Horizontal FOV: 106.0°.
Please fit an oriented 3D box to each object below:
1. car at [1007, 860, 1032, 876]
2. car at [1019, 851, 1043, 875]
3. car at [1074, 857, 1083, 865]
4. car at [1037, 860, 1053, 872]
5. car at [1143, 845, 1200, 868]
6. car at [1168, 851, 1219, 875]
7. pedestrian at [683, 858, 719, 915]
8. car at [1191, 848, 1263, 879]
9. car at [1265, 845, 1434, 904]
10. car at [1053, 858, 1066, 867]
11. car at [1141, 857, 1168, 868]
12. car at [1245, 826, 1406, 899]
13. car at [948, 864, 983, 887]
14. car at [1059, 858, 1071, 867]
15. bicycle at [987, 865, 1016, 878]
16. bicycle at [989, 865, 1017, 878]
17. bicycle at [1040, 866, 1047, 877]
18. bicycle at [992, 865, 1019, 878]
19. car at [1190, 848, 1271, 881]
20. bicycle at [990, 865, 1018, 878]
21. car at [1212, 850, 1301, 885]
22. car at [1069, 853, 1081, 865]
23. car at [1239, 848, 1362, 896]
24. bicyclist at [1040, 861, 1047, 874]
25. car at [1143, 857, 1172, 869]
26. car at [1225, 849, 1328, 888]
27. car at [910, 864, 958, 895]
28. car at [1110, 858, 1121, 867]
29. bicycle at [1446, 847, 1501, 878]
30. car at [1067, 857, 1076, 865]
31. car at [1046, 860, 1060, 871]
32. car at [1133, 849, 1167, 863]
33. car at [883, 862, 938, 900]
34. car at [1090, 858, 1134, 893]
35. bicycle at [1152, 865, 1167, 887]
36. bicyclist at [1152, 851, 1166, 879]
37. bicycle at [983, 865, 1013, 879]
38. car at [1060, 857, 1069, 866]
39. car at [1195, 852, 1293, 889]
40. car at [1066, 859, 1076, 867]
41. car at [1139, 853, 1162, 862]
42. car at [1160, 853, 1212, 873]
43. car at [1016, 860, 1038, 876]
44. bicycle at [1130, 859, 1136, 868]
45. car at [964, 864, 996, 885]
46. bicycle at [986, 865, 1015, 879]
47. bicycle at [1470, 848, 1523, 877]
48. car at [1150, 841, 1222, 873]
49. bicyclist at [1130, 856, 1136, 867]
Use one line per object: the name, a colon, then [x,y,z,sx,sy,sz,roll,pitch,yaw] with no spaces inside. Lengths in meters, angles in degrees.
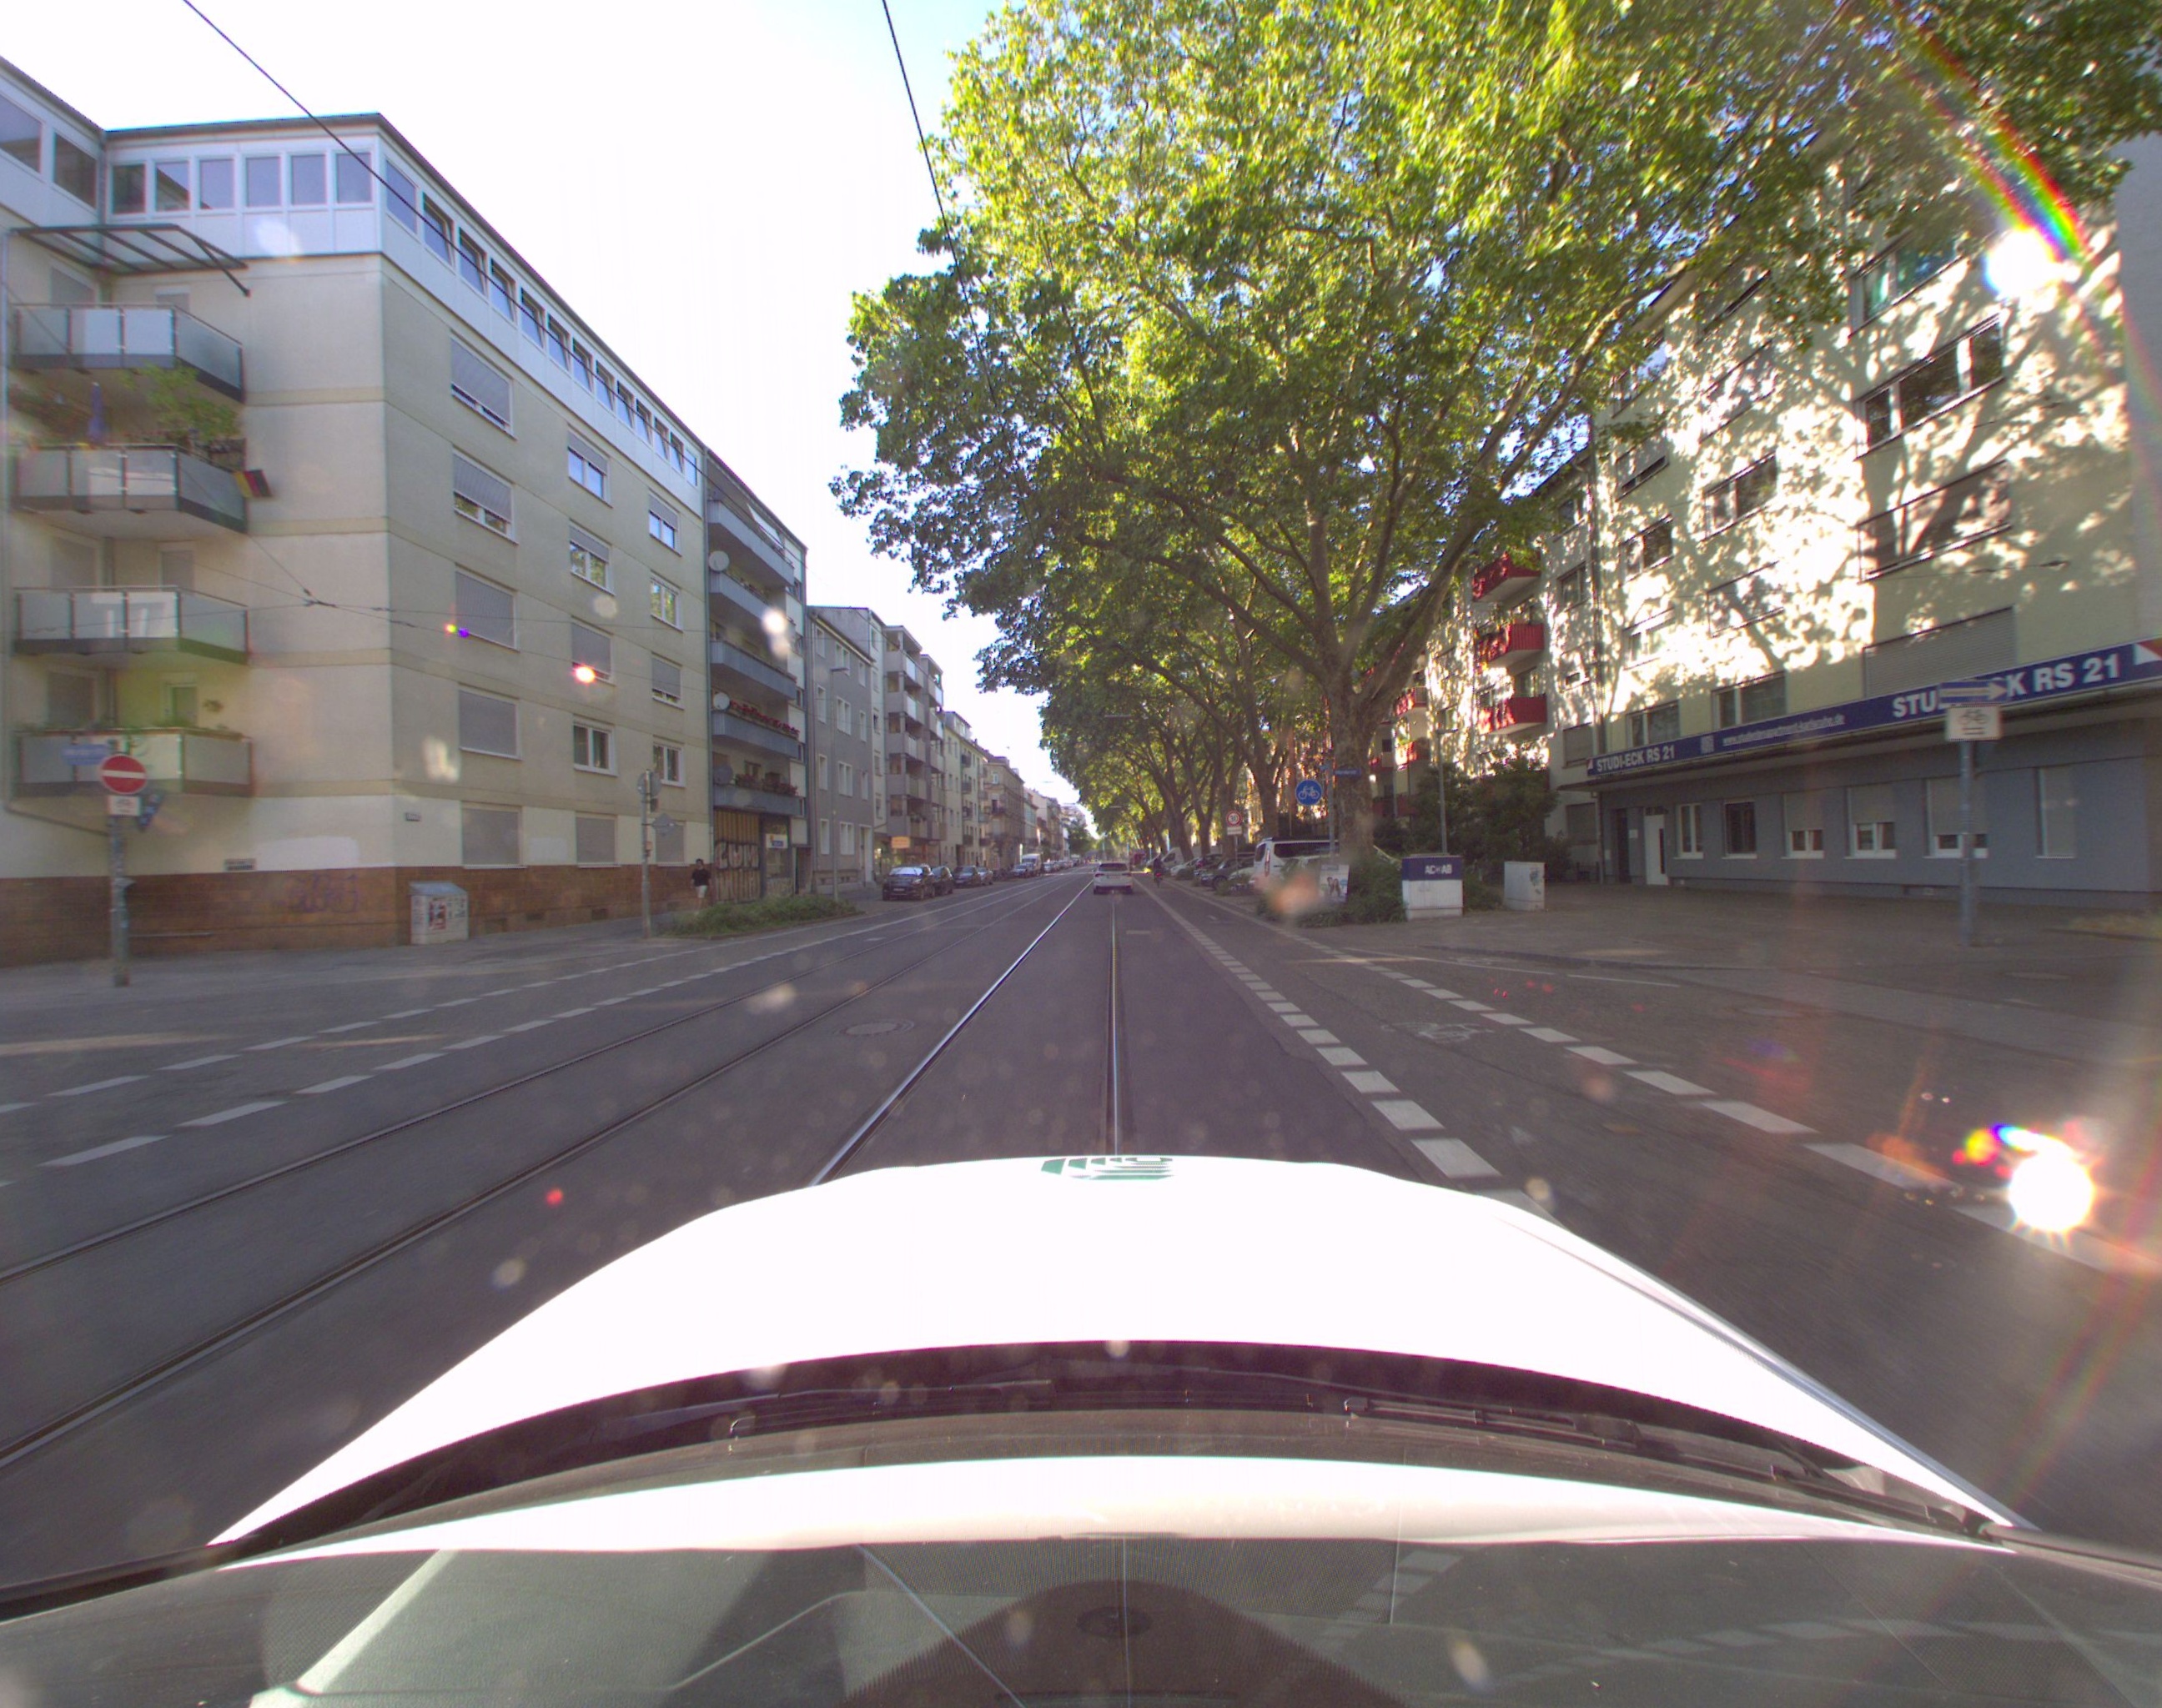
car: [-6.280,1.452,83.520,1.986,1.530,4.002,-2,0,2]
car: [-5.793,1.017,95.246,2.170,2.597,4.951,-2,0,2]
car: [-0.631,1.699,199.101,1.986,2.013,4.002,-2,0,2]
car: [-5.070,1.657,115.566,1.986,1.530,4.002,-2,0,2]
car: [10.212,0.306,91.851,6.110,2.282,2.529,-2,0,0]
car: [8.423,0.683,60.997,3.618,1.666,1.824,-2,0,4]
pedestrian: [-12.479,1.055,26.744,0.661,1.826,0.965,-2,-1,0]
car: [8.630,0.559,48.369,3.973,1.680,1.724,-2,0,0]
car: [7.717,0.581,23.668,4.282,1.479,1.831,-2,0,0]
car: [-3.764,1.512,144.868,1.986,1.530,4.002,-2,0,2]
car: [11.521,1.262,127.857,4.034,1.540,2.001,-2,0,1]
car: [7.789,0.272,26.249,4.530,2.076,2.000,-2,0,-1]
car: [-7.661,1.397,54.308,1.648,1.437,3.836,-2,0,0]
car: [-3.038,1.560,151.544,1.986,1.640,4.002,-1,-1,2]
bicycle: [-7.138,1.593,73.224,2.519,1.172,0.718,0,-2,-3]
bicycle: [-7.127,1.597,74.259,2.519,1.172,0.718,0,-2,-3]
bicycle: [-4.040,1.889,88.105,0.603,1.071,1.583,-2,0,0]
bicycle: [-7.052,1.614,76.162,2.520,1.172,0.718,0,-2,-5]
car: [8.433,0.586,46.066,4.220,1.666,1.848,-2,0,0]
bicycle: [-7.095,1.599,75.043,2.519,1.172,0.718,0,-2,-3]
car: [8.553,0.663,39.890,3.973,1.514,1.761,-2,0,0]
car: [-1.602,1.316,218.127,2.956,3.156,5.850,-1,-1,2]
car: [7.742,0.629,28.963,3.886,1.479,1.722,-2,0,-1]
bicyclist: [-4.063,1.460,88.142,0.595,1.286,0.917,-2,-1,-1]
car: [11.374,1.352,121.306,4.034,1.540,2.001,-2,0,1]
car: [8.384,0.630,35.197,4.021,1.479,1.924,-2,0,2]
car: [-7.888,1.326,44.047,1.696,1.544,4.244,0,0,2]
car: [6.196,1.584,145.486,1.754,1.475,4.003,-3,0,2]
bicycle: [16.135,0.345,33.502,1.942,1.156,0.571,-4,-1,-6]
car: [-2.478,1.907,210.983,1.986,2.014,4.002,-1,-1,2]
car: [-4.426,1.834,129.522,1.986,1.530,4.002,-2,0,2]
car: [12.801,0.430,152.057,6.110,2.282,2.529,-2,0,0]
car: [-8.026,1.228,38.727,1.696,1.650,4.242,0,0,0]
car: [1.388,0.897,36.159,1.755,1.384,4.002,-3,0,2]
bicycle: [4.139,1.158,42.994,0.679,1.071,1.782,-3,0,3]
bicyclist: [4.104,0.586,42.902,0.676,1.443,1.048,-3,-1,3]
bicycle: [-7.255,1.583,71.503,2.545,1.172,0.873,1,-2,-38]
car: [-3.917,1.791,196.712,1.986,2.013,4.002,-2,0,2]
car: [7.439,0.753,37.475,4.128,1.514,1.931,-2,0,1]
car: [-2.244,1.895,177.369,1.986,1.640,4.002,-1,-1,2]
car: [12.579,0.678,147.364,4.034,1.540,2.001,-2,0,1]
car: [9.054,0.803,70.407,4.041,1.540,1.997,-2,0,-4]
car: [-5.901,1.516,89.296,1.986,1.530,4.002,-2,0,2]
bicycle: [6.950,1.279,109.238,0.647,1.071,1.583,-3,0,0]
car: [-7.329,1.459,59.341,1.478,1.403,3.995,-2,0,4]
bicycle: [-7.159,1.590,72.384,2.520,1.172,0.718,0,-2,-5]
bicycle: [17.044,0.339,33.412,1.787,1.041,0.617,-4,-1,-3]
car: [9.381,0.272,73.238,6.110,2.635,2.529,-2,-1,0]
bicyclist: [6.934,1.012,109.253,0.647,1.344,0.934,-2,-1,0]
